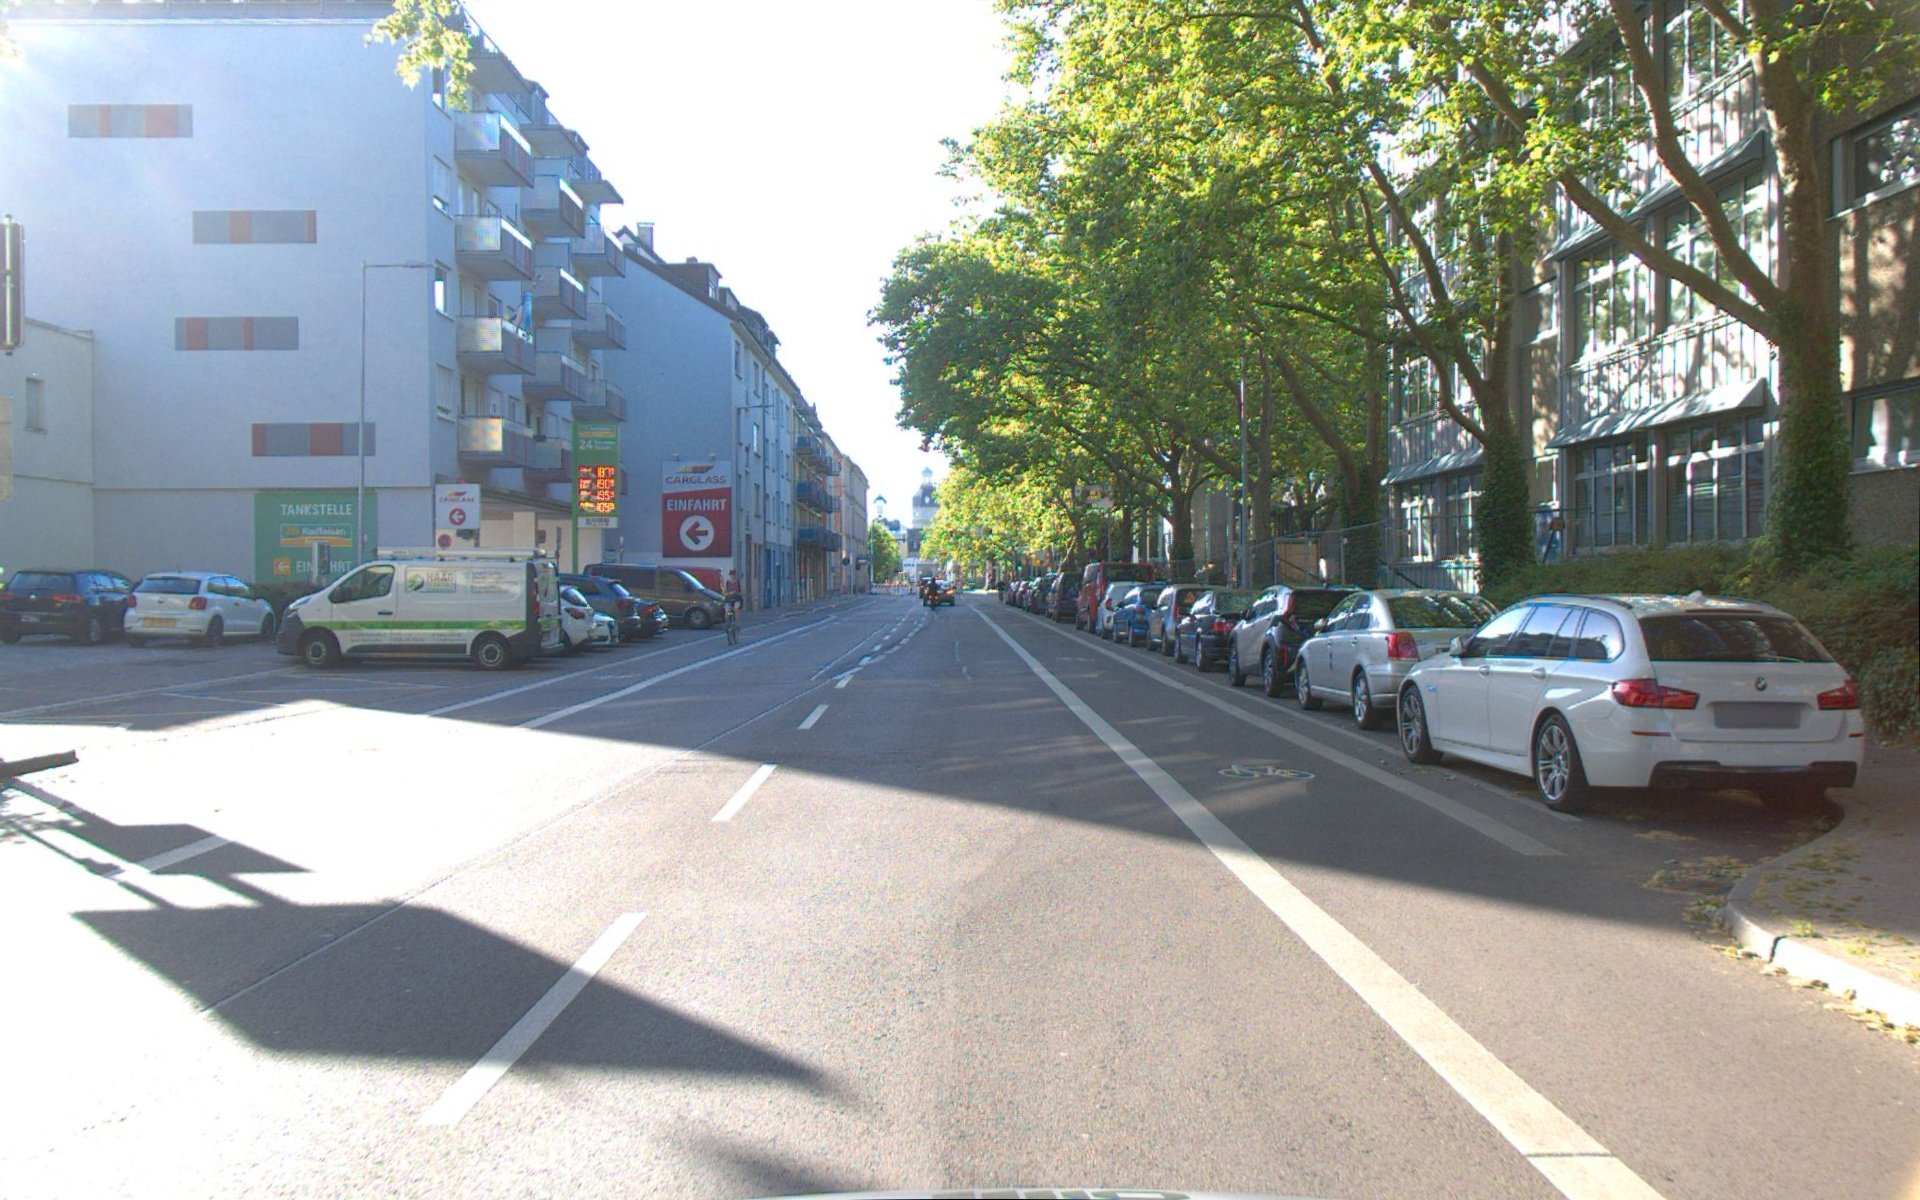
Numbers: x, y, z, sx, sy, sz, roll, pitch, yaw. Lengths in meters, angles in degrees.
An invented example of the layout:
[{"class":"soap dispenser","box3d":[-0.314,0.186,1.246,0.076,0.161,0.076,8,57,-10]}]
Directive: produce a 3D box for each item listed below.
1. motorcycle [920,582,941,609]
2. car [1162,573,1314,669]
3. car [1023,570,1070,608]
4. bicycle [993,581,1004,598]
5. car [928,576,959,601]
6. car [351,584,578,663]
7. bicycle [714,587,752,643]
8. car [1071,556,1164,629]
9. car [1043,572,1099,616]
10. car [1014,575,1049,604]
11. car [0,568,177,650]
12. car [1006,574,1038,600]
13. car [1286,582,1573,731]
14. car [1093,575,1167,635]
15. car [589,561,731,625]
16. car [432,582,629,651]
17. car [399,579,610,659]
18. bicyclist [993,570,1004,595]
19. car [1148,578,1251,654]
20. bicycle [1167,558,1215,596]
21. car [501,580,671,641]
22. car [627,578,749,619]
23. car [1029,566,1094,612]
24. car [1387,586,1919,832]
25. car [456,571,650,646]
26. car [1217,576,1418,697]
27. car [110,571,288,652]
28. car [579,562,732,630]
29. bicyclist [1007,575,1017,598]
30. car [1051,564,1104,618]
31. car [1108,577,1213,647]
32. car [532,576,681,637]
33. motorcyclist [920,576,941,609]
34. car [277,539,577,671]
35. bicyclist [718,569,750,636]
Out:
[{"class":"motorcycle","box3d":[-1.490,-0.246,82.911,0.992,1.329,2.672,-1,1,-2]},{"class":"car","box3d":[4.893,0.316,29.730,1.817,1.549,4.598,1,1,-2]},{"class":"car","box3d":[4.009,-0.537,77.442,1.740,1.656,4.619,1,1,-2]},{"class":"bicycle","box3d":[2.476,-0.676,106.964,0.643,1.089,1.926,1,0,-1]},{"class":"car","box3d":[-0.984,-0.672,96.677,1.791,1.445,3.814,0,1,-2]},{"class":"car","box3d":[-9.696,0.443,32.556,3.906,1.458,1.853,0,1,-1]},{"class":"bicycle","box3d":[-5.474,0.342,39.971,0.594,1.261,2.049,-3,1,-1]},{"class":"car","box3d":[4.632,-0.243,49.359,2.036,2.029,5.169,1,1,-3]},{"class":"car","box3d":[4.357,-0.267,65.238,1.659,1.656,4.328,1,1,-3]},{"class":"car","box3d":[3.931,-0.587,91.771,1.658,1.505,4.318,1,1,-1]},{"class":"car","box3d":[-17.405,0.125,32.938,1.753,1.489,4.000,2,1,-1]},{"class":"car","box3d":[3.627,-0.779,97.256,1.658,1.492,4.065,1,1,0]},{"class":"car","box3d":[5.113,0.537,18.700,1.817,1.461,4.601,0,1,-2]},{"class":"car","box3d":[4.546,0.112,44.648,1.604,1.511,3.760,1,1,1]},{"class":"car","box3d":[-9.991,-0.247,55.363,4.331,1.985,2.146,2,1,-1]},{"class":"car","box3d":[-9.505,0.347,36.844,3.906,1.458,1.853,0,1,-1]},{"class":"car","box3d":[-9.501,0.380,34.718,3.906,1.586,1.853,0,1,-1]},{"class":"bicyclist","box3d":[2.484,-1.123,107.001,0.643,1.557,0.852,1,0,-2]},{"class":"car","box3d":[5.088,0.298,35.510,1.581,1.501,3.492,1,1,-2]},{"class":"bicycle","box3d":[12.919,-1.286,92.464,2.545,2.049,0.742,-1,1,-1]},{"class":"car","box3d":[-9.487,0.258,42.160,3.906,1.481,1.916,0,1,-1]},{"class":"car","box3d":[-9.950,-0.059,60.742,4.142,1.404,2.046,1,0,-1]},{"class":"car","box3d":[4.387,-0.506,72.034,1.791,1.873,4.889,1,1,-9]},{"class":"car","box3d":[4.945,0.642,12.589,1.818,1.461,4.966,0,1,-4]},{"class":"car","box3d":[-9.641,0.194,39.404,4.109,1.713,2.028,0,1,-1]},{"class":"car","box3d":[4.976,0.442,23.612,1.817,1.549,4.296,1,1,-2]},{"class":"car","box3d":[-15.187,0.176,33.241,1.753,1.489,4.000,1,1,-1]},{"class":"car","box3d":[-9.613,-0.141,52.469,4.430,1.985,2.056,2,1,-1]},{"class":"bicyclist","box3d":[3.627,-0.933,115.395,0.643,1.557,0.906,1,0,-2]},{"class":"car","box3d":[4.253,-0.343,60.412,1.658,1.844,4.130,1,1,0]},{"class":"car","box3d":[4.784,0.254,39.940,1.818,1.537,3.927,2,1,-4]},{"class":"car","box3d":[-9.460,0.165,44.489,3.610,1.539,1.830,1,1,-1]},{"class":"motorcyclist","box3d":[-1.487,-0.384,82.935,0.992,1.630,1.406,-1,1,-2]},{"class":"car","box3d":[-9.619,0.079,30.182,4.746,2.255,2.140,1,1,-1]},{"class":"bicyclist","box3d":[-5.480,0.048,40.153,0.594,1.571,0.934,-3,1,-1]}]
